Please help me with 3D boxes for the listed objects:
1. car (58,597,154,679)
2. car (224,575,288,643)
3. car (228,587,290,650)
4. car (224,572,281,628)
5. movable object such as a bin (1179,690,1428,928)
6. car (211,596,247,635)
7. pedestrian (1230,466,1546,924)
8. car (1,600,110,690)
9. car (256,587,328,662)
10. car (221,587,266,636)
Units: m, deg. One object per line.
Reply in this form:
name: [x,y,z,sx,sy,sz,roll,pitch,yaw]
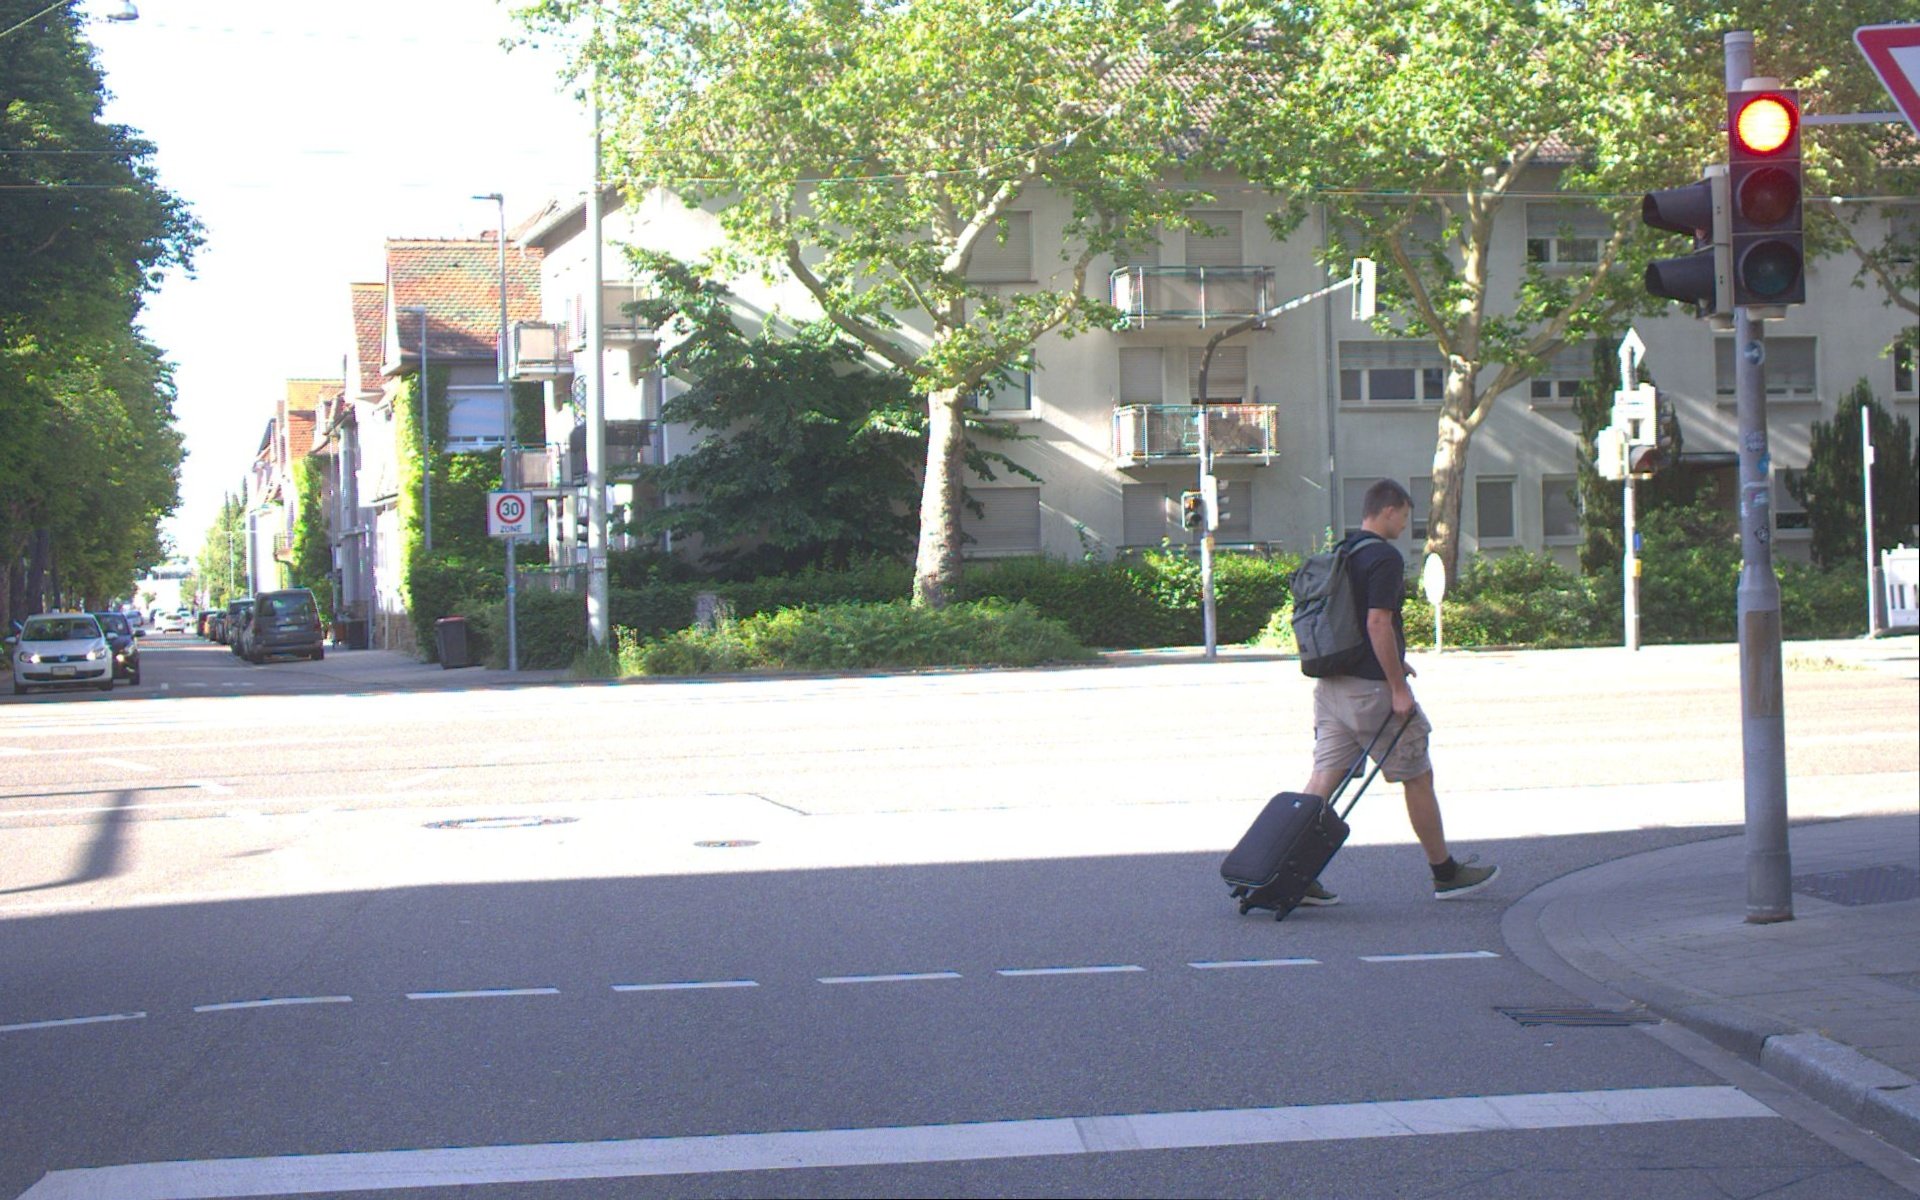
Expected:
car: [-17.242,0.741,69.552,1.698,1.478,3.535,-3,1,-12]
car: [-21.446,0.255,104.657,1.772,1.912,3.535,-3,1,-12]
car: [-23.637,0.611,115.959,1.993,2.007,4.001,1,1,-11]
car: [-26.254,-0.016,127.630,1.993,2.007,4.001,1,1,-11]
movable object such as a bin: [1.385,0.835,13.922,0.861,0.889,0.509,-2,1,-13]
car: [-38.458,0.793,180.835,1.772,1.912,3.535,-3,1,-12]
pedestrian: [1.800,0.381,14.536,1.065,1.842,0.749,-2,1,-15]
car: [-16.641,0.808,63.371,1.698,1.478,3.535,-3,1,-12]
car: [-18.383,0.648,94.543,1.772,1.912,3.535,-3,1,-12]
car: [-30.523,0.469,146.453,1.772,1.912,3.535,-3,1,-12]
